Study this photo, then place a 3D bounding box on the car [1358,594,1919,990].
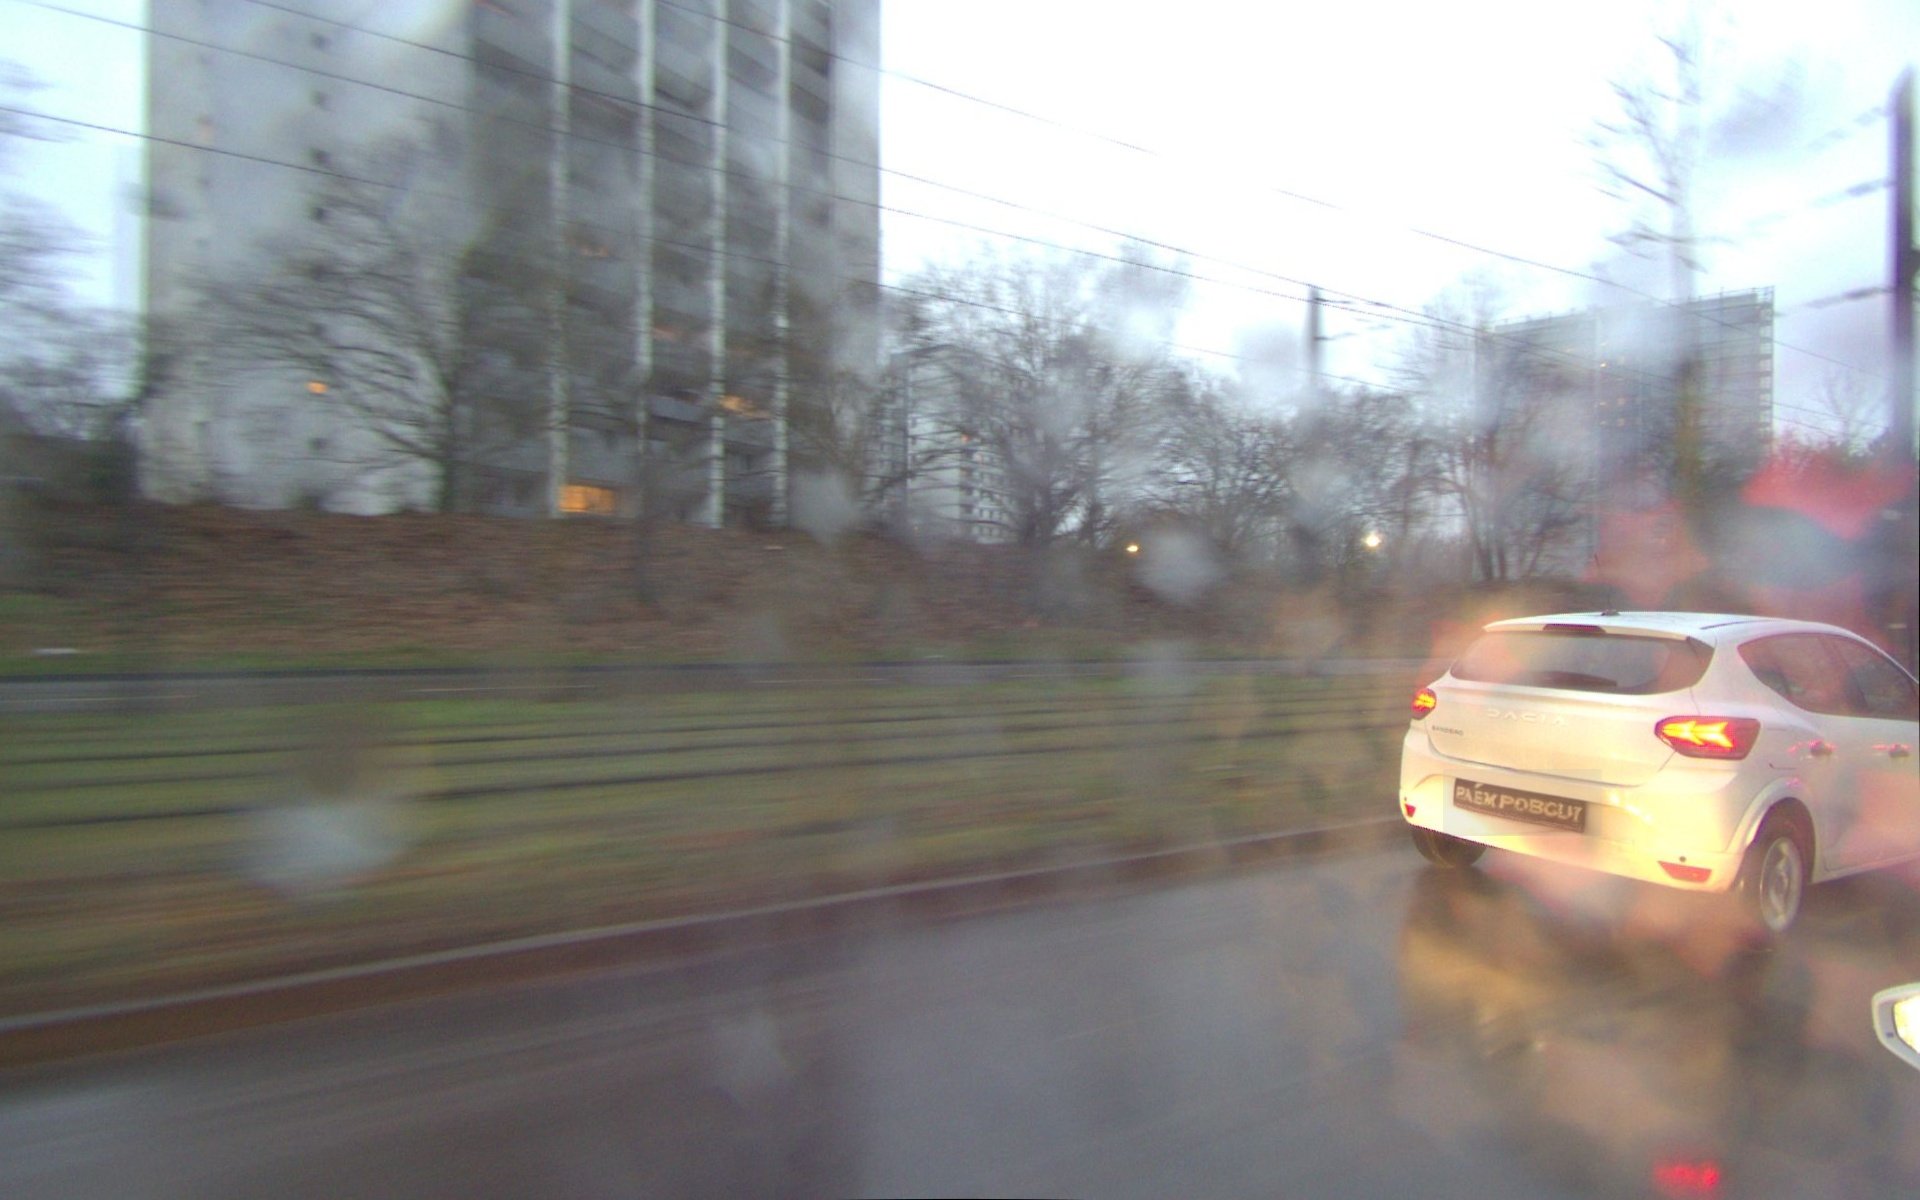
[{"bbox_3d":[4.330,0.790,5.695,4.085,1.545,1.701,1,-1,-30],"label":"car"}]
